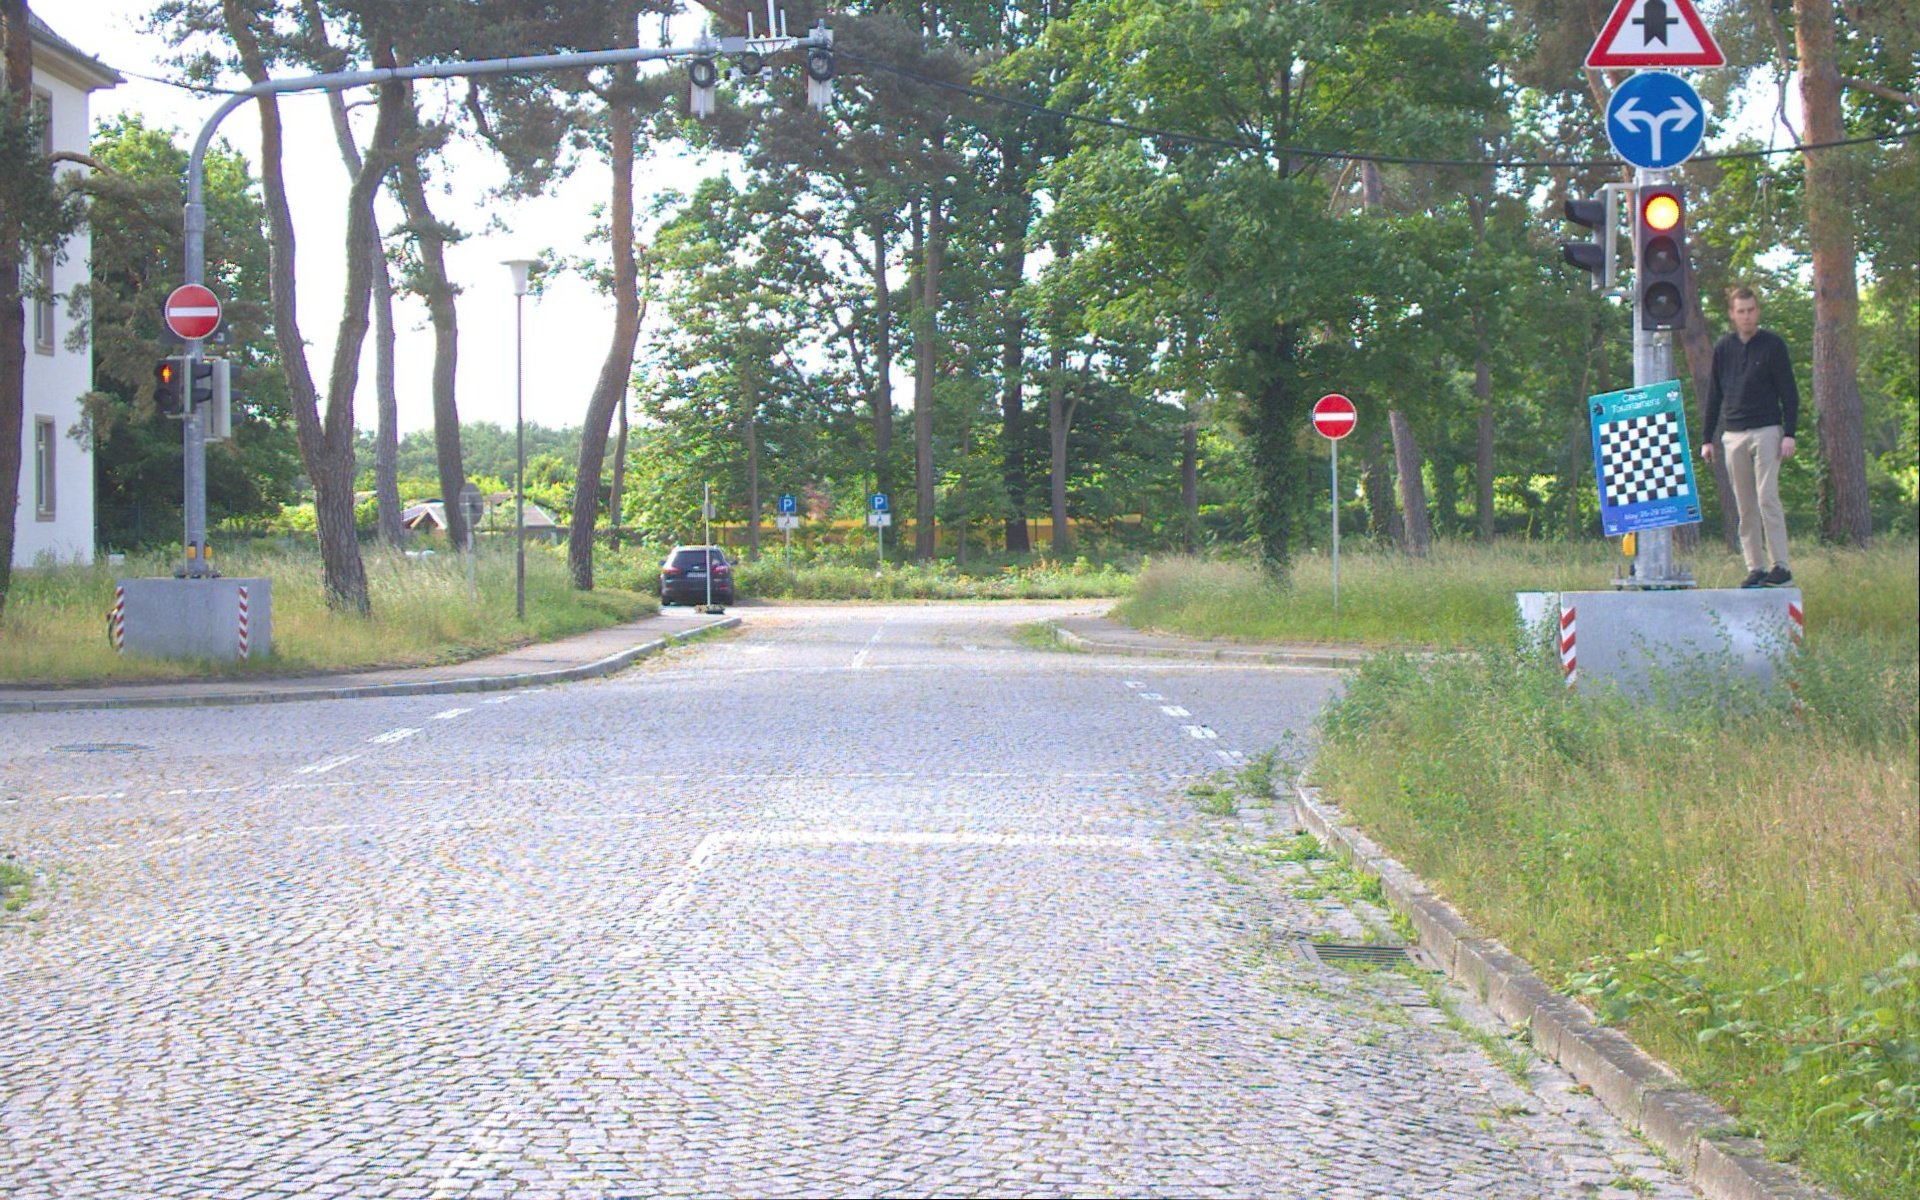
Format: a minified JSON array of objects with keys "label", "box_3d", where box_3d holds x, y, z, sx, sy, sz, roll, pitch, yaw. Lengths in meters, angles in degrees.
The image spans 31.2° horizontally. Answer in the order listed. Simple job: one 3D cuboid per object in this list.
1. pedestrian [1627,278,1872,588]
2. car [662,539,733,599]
[{"label":"pedestrian","box_3d":[4.767,-0.988,20.729,1.170,1.790,1.061,0,1,29]},{"label":"car","box_3d":[-6.730,-0.819,88.450,1.709,1.491,3.919,-1,1,-3]}]
